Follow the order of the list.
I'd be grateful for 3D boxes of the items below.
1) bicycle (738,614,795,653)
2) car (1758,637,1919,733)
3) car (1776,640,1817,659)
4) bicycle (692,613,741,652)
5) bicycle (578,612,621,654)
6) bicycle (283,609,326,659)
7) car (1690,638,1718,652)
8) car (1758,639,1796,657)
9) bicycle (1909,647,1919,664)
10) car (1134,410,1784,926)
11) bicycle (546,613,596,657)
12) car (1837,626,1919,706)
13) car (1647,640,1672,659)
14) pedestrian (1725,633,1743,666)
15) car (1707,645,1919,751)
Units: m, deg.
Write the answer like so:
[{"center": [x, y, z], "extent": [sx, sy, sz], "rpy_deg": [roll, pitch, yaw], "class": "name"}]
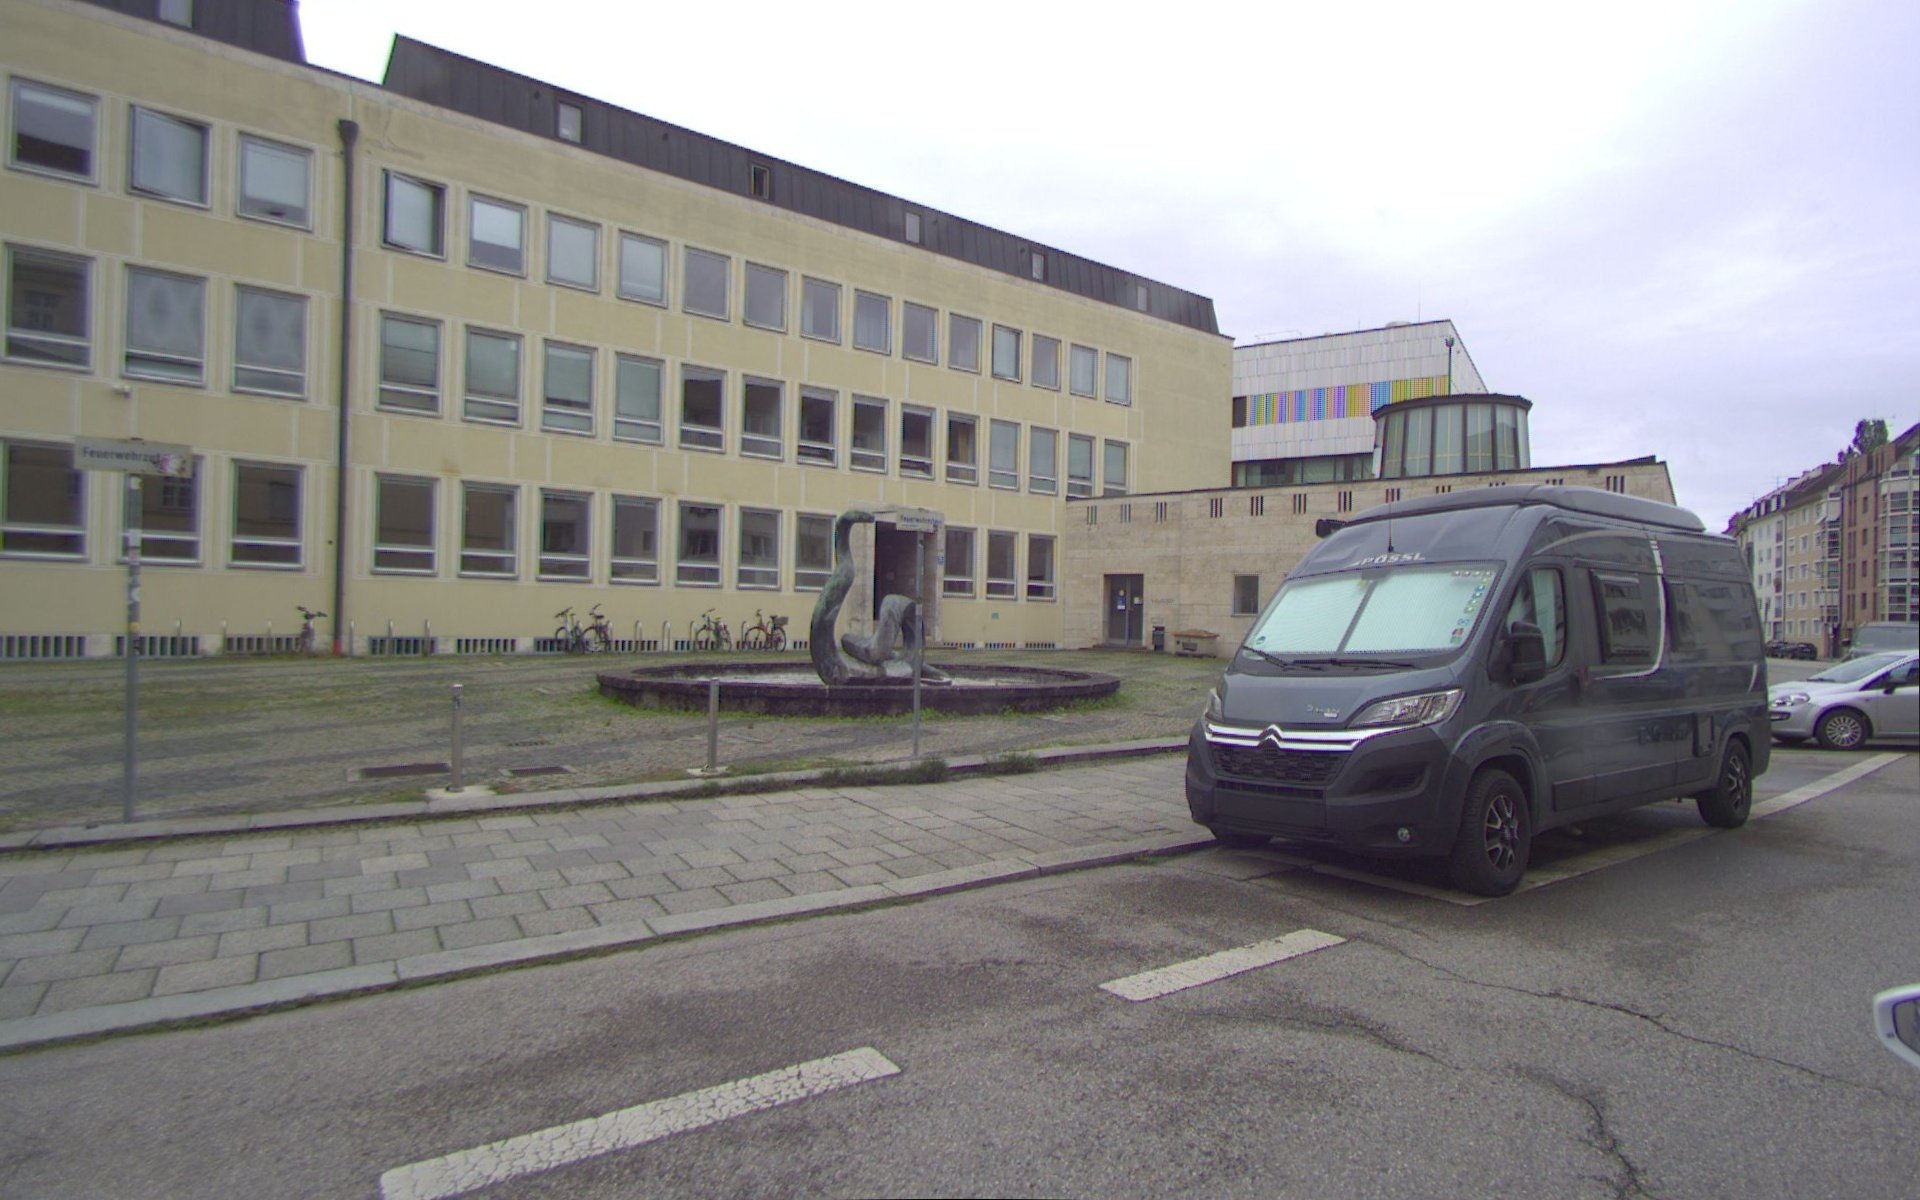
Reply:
[{"center": [-5.451, 0.936, 28.222], "extent": [0.621, 1.028, 1.928], "rpy_deg": [1, -1, -43], "class": "bicycle"}, {"center": [16.478, 1.463, 17.227], "extent": [4.005, 1.501, 1.685], "rpy_deg": [1, -1, 19], "class": "car"}, {"center": [74.904, 4.443, 90.026], "extent": [1.779, 1.492, 4.114], "rpy_deg": [1, 0, 25], "class": "car"}, {"center": [-6.696, 0.879, 27.564], "extent": [0.620, 1.028, 1.933], "rpy_deg": [1, -1, -36], "class": "bicycle"}, {"center": [-9.330, 0.835, 25.979], "extent": [0.619, 1.028, 1.936], "rpy_deg": [1, -1, -32], "class": "bicycle"}, {"center": [-14.345, 0.722, 22.024], "extent": [0.618, 1.028, 1.938], "rpy_deg": [1, -1, -29], "class": "bicycle"}, {"center": [87.130, 5.272, 117.636], "extent": [1.779, 1.492, 4.114], "rpy_deg": [1, 0, 25], "class": "car"}, {"center": [76.582, 4.482, 94.229], "extent": [1.779, 1.492, 4.114], "rpy_deg": [1, 0, 25], "class": "car"}, {"center": [78.965, 4.587, 83.042], "extent": [0.544, 1.305, 1.753], "rpy_deg": [1, -1, 37], "class": "bicycle"}, {"center": [4.211, 0.442, 7.890], "extent": [5.961, 2.676, 2.149], "rpy_deg": [2, -2, -37], "class": "car"}, {"center": [-9.763, 0.865, 25.162], "extent": [0.620, 1.028, 1.931], "rpy_deg": [1, -1, -39], "class": "bicycle"}, {"center": [22.356, 1.538, 24.254], "extent": [1.659, 1.729, 4.491], "rpy_deg": [1, -1, 40], "class": "car"}, {"center": [71.058, 5.013, 102.055], "extent": [1.890, 1.769, 4.765], "rpy_deg": [1, -1, 33], "class": "car"}, {"center": [41.691, 2.674, 54.100], "extent": [0.742, 1.725, 0.923], "rpy_deg": [2, 0, 39], "class": "pedestrian"}, {"center": [14.041, 1.472, 15.192], "extent": [4.005, 1.500, 1.686], "rpy_deg": [-1, -5, 17], "class": "car"}]
